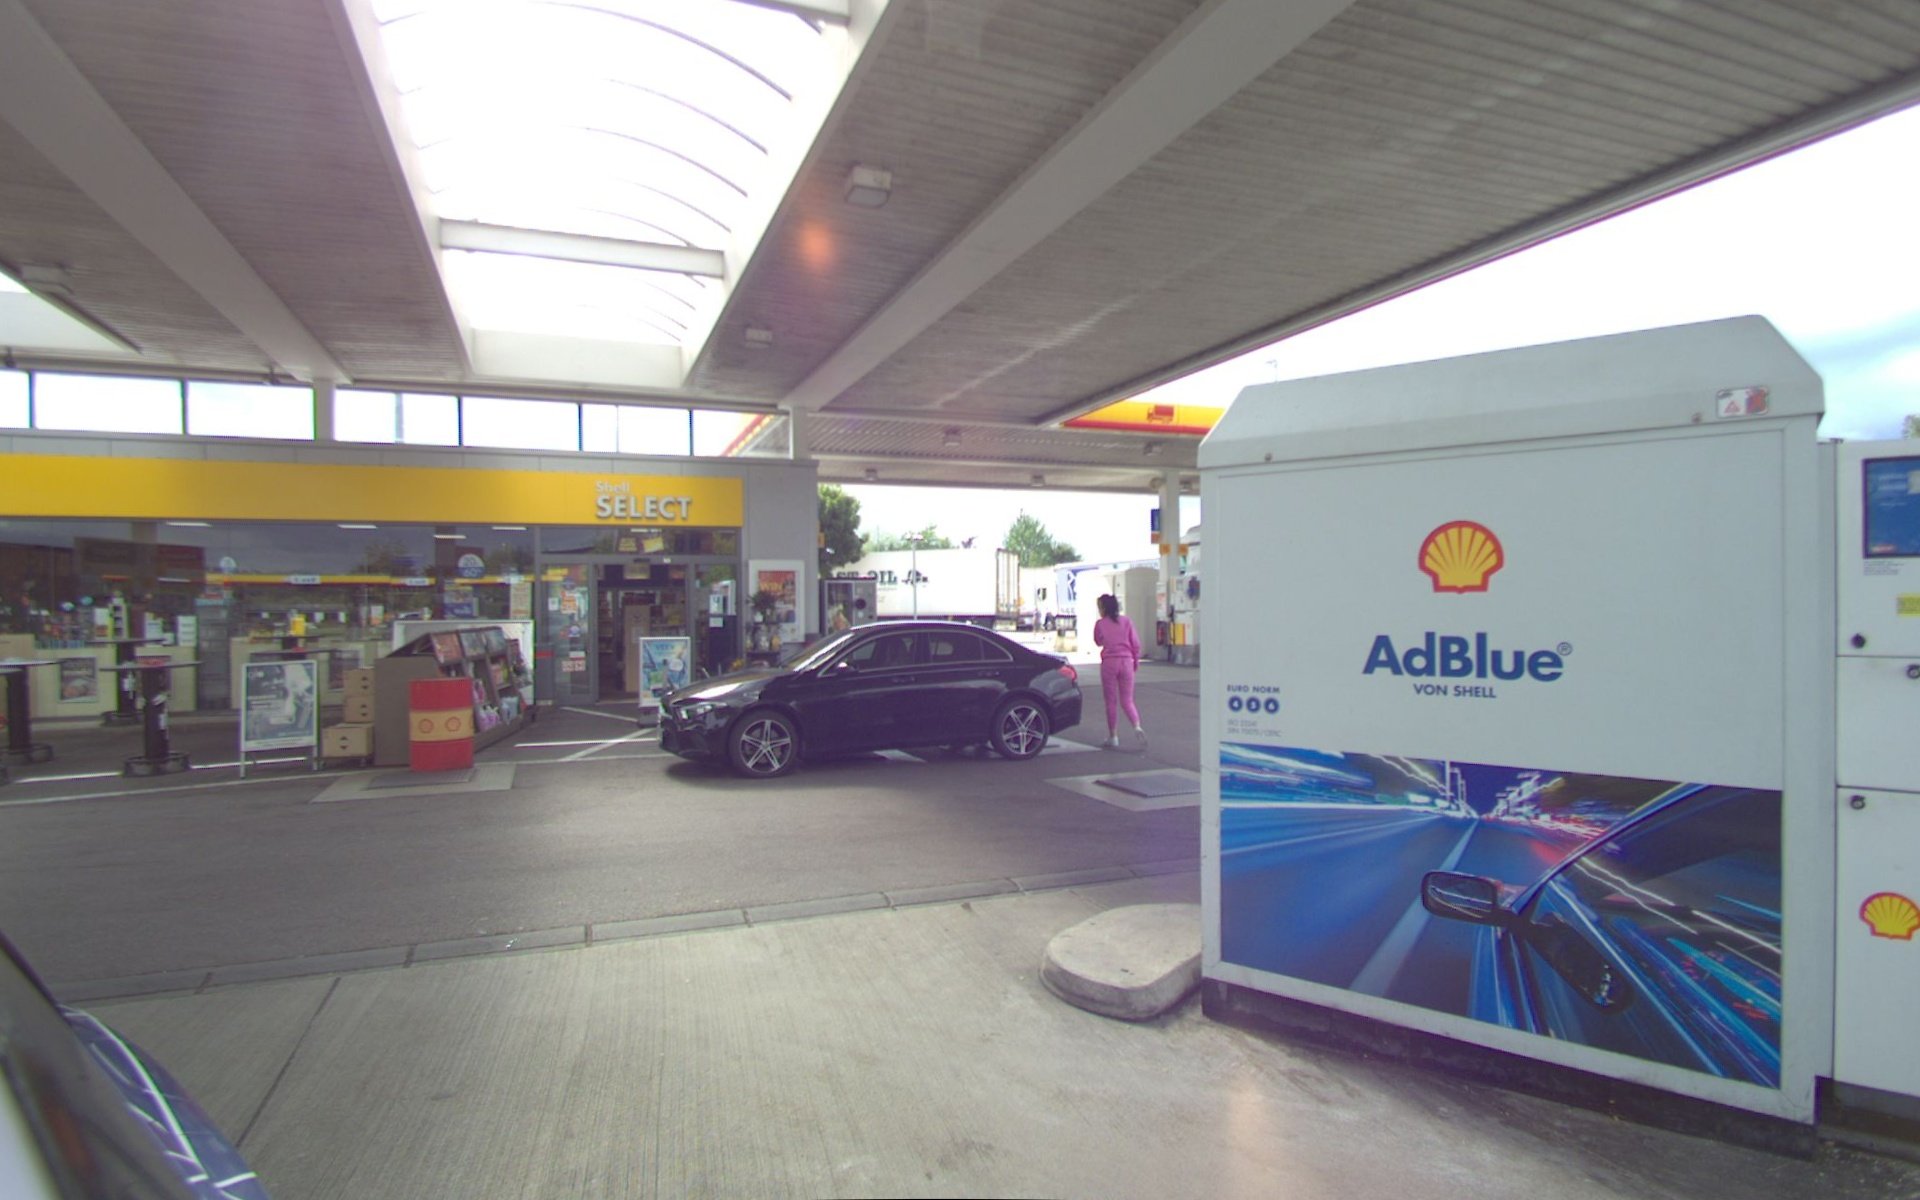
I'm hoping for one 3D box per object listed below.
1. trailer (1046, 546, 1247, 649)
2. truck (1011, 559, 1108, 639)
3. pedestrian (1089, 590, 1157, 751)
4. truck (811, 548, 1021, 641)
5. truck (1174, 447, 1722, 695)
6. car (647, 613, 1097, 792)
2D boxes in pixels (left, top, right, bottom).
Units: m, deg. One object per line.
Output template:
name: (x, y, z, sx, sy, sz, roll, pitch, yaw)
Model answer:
trailer: (9.086, -0.102, 52.697, 3.294, 4.600, 14.397, -1, 0, -20)
truck: (5.907, -0.052, 61.244, 3.333, 4.538, 6.249, -1, 0, -20)
pedestrian: (1.802, 0.763, 11.253, 0.618, 1.726, 0.623, -1, 0, -1)
truck: (-2.120, -0.184, 46.861, 9.536, 4.036, 2.772, -1, 0, 25)
truck: (9.643, -0.464, 23.125, 2.491, 4.069, 12.947, -1, 0, -22)
car: (-0.938, 0.942, 10.699, 4.394, 1.511, 1.785, -1, 0, -21)
